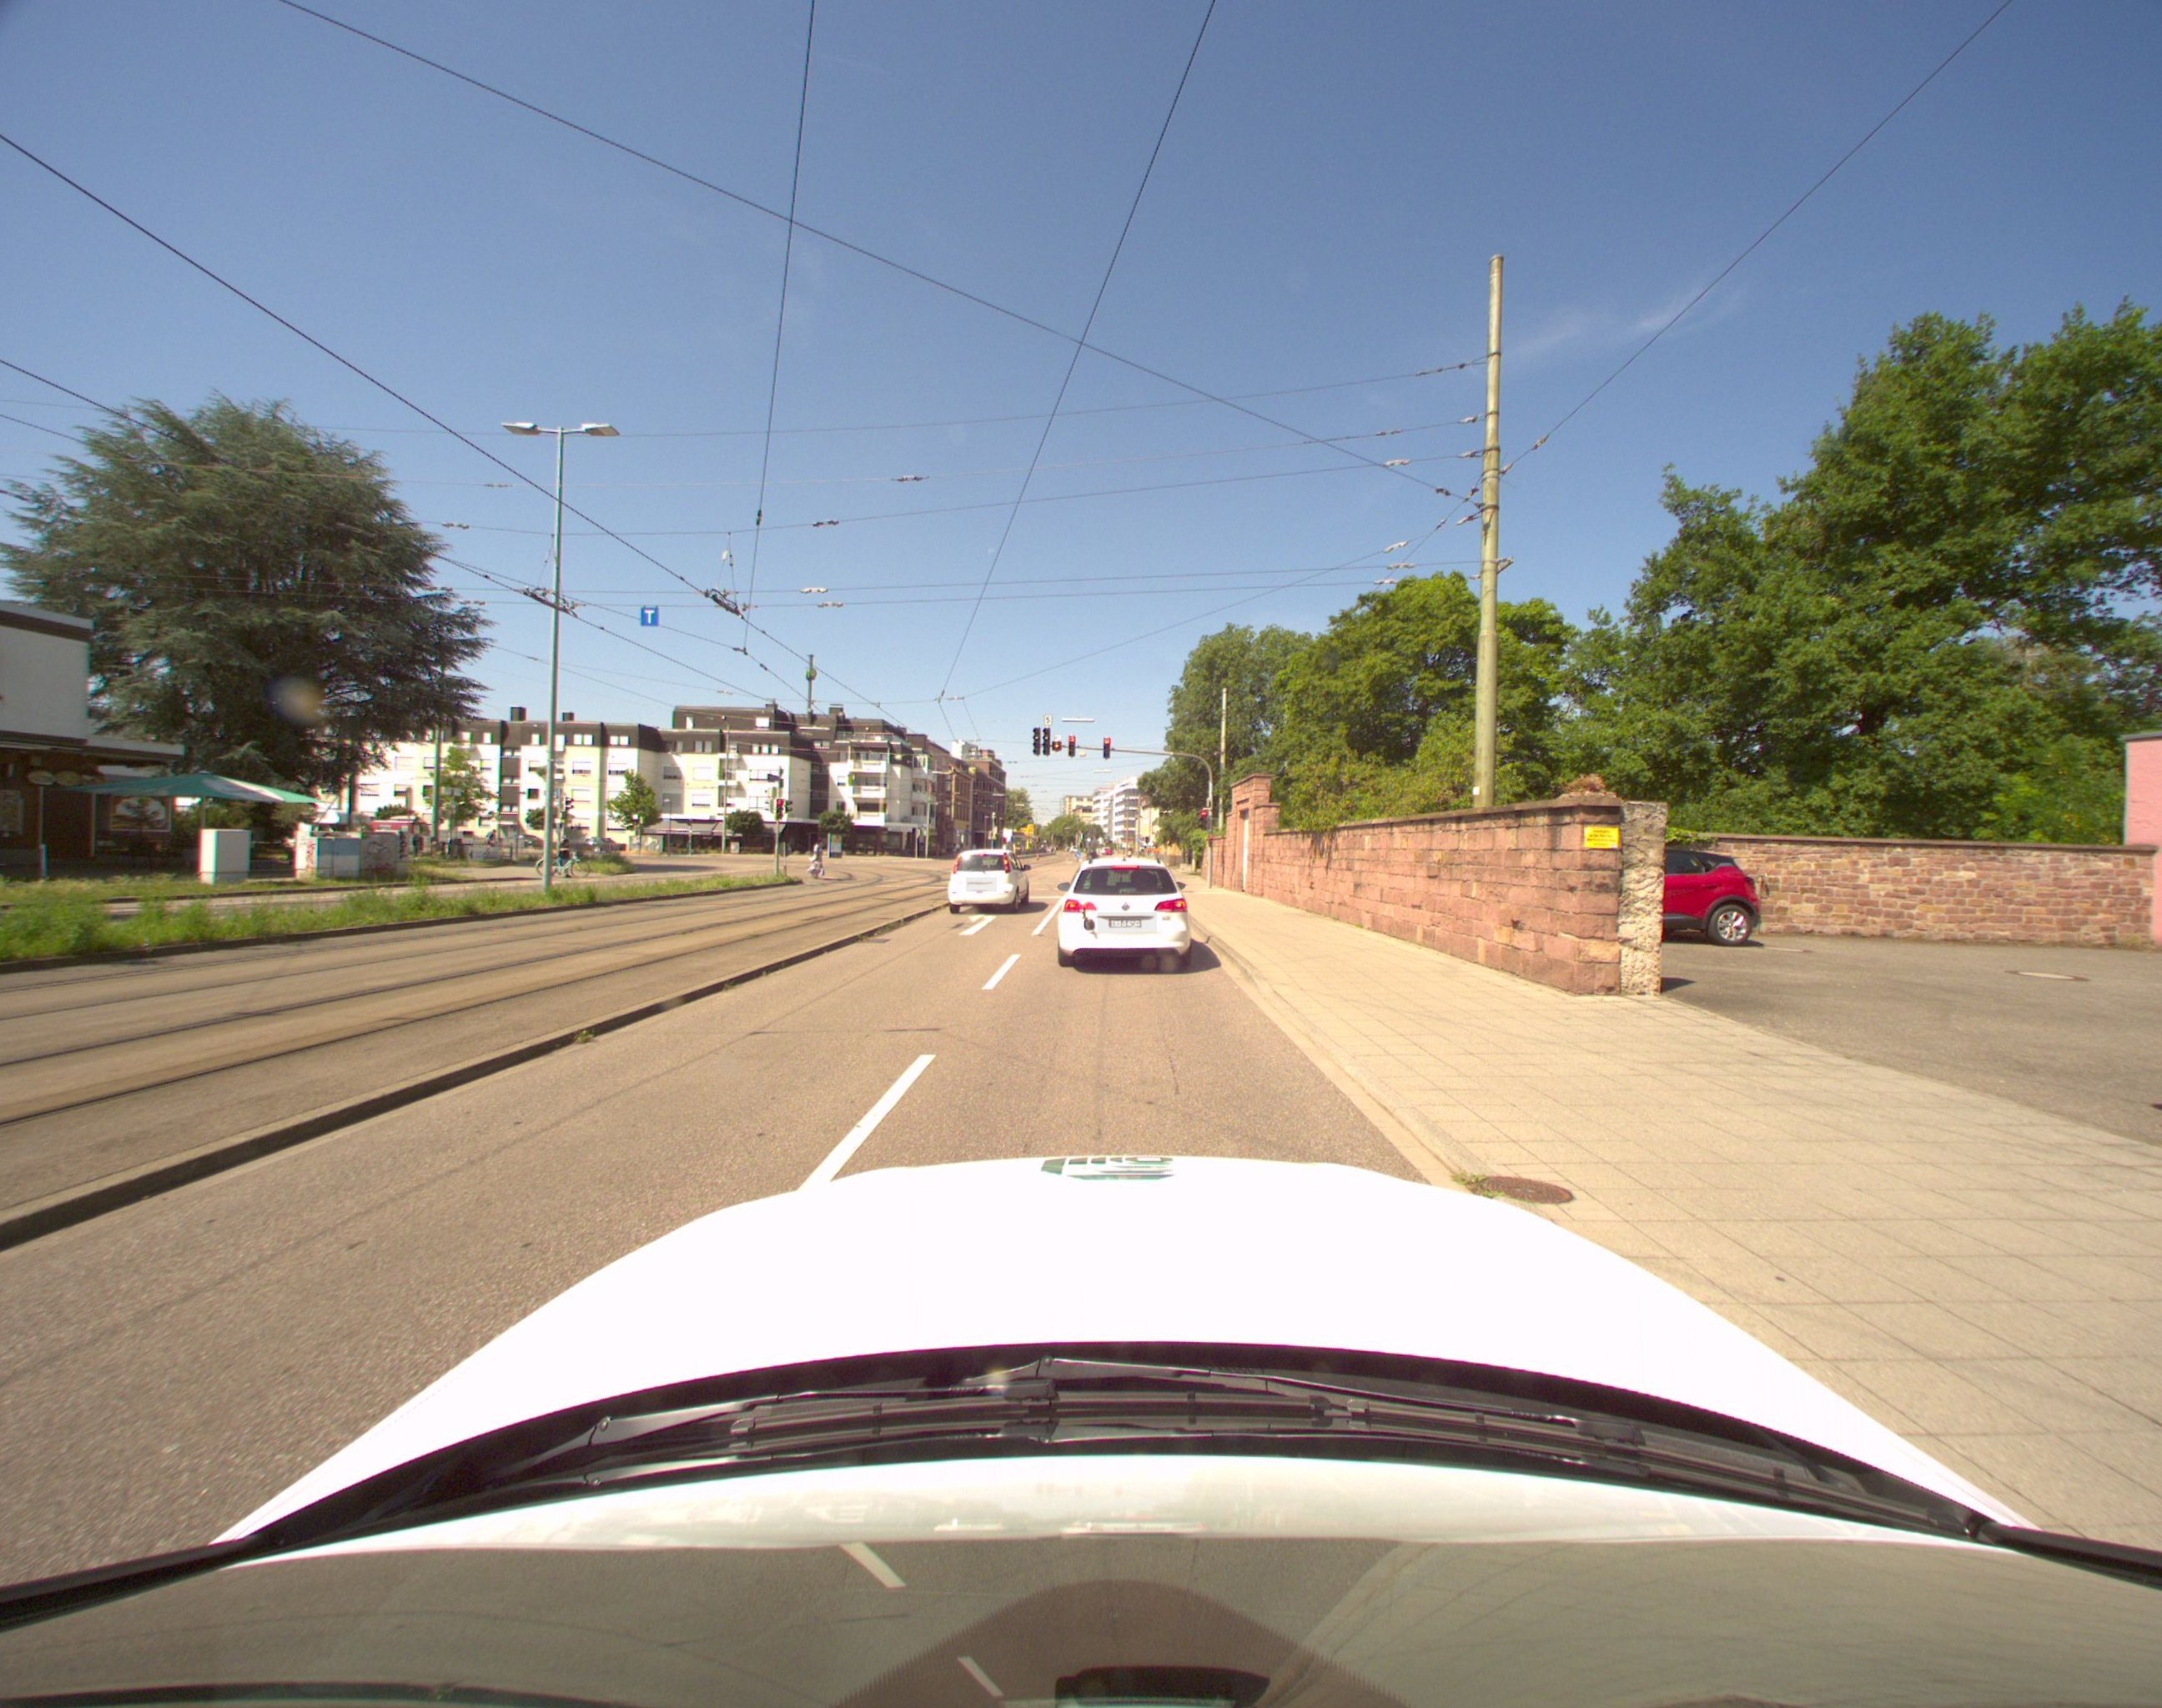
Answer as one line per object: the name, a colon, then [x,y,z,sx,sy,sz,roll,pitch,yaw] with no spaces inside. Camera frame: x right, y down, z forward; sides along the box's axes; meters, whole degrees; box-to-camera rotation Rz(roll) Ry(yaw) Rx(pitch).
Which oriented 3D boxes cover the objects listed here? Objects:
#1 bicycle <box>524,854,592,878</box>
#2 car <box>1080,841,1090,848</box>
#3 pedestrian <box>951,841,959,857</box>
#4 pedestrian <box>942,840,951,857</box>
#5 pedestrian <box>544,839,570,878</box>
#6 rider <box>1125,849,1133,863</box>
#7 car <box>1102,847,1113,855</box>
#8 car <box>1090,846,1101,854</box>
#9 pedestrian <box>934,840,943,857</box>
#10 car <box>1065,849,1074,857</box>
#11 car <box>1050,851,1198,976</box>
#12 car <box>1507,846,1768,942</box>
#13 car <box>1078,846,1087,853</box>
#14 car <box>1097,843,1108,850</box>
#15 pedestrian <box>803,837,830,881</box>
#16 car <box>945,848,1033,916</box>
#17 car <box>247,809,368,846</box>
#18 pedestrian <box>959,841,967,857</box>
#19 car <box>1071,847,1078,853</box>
bicycle: [-20.402,0.472,31.783,2.187,0.921,0.547,1,0,-37]
car: [1.255,-2.822,246.441,1.996,2.013,3.982,3,0,-14]
pedestrian: [-16.070,-0.637,103.904,0.935,2.013,0.989,1,0,-4]
pedestrian: [-16.454,-0.642,99.608,0.934,2.013,0.989,1,0,-4]
pedestrian: [-20.657,0.180,32.118,0.819,1.487,0.560,1,0,-36]
rider: [6.059,0.192,102.534,0.887,1.728,2.205,1,0,3]
car: [6.939,-0.830,210.570,1.995,2.013,3.984,1,0,-12]
car: [3.732,-1.015,210.398,1.995,1.903,3.984,1,0,-12]
pedestrian: [-17.420,-0.643,99.467,0.934,2.013,0.990,1,0,-2]
car: [-2.600,-0.217,184.466,1.692,1.591,3.535,1,0,1]
car: [0.648,0.715,11.823,1.771,1.490,3.851,-1,0,4]
car: [9.342,0.638,13.848,3.396,1.464,1.524,1,0,0]
car: [0.600,-1.486,251.118,1.995,2.013,3.984,1,0,-12]
car: [5.932,-2.145,225.309,1.995,2.013,3.984,1,0,-12]
pedestrian: [-10.848,0.204,33.413,0.825,1.738,0.930,1,0,-6]
car: [-2.288,0.647,21.269,1.724,1.596,4.012,1,0,1]
car: [-49.944,-1.690,52.665,5.535,2.013,2.250,4,0,0]
pedestrian: [-15.883,-0.663,109.500,0.935,2.013,0.989,1,0,-4]
car: [-1.876,-1.074,229.655,1.697,1.591,3.525,1,0,-8]
